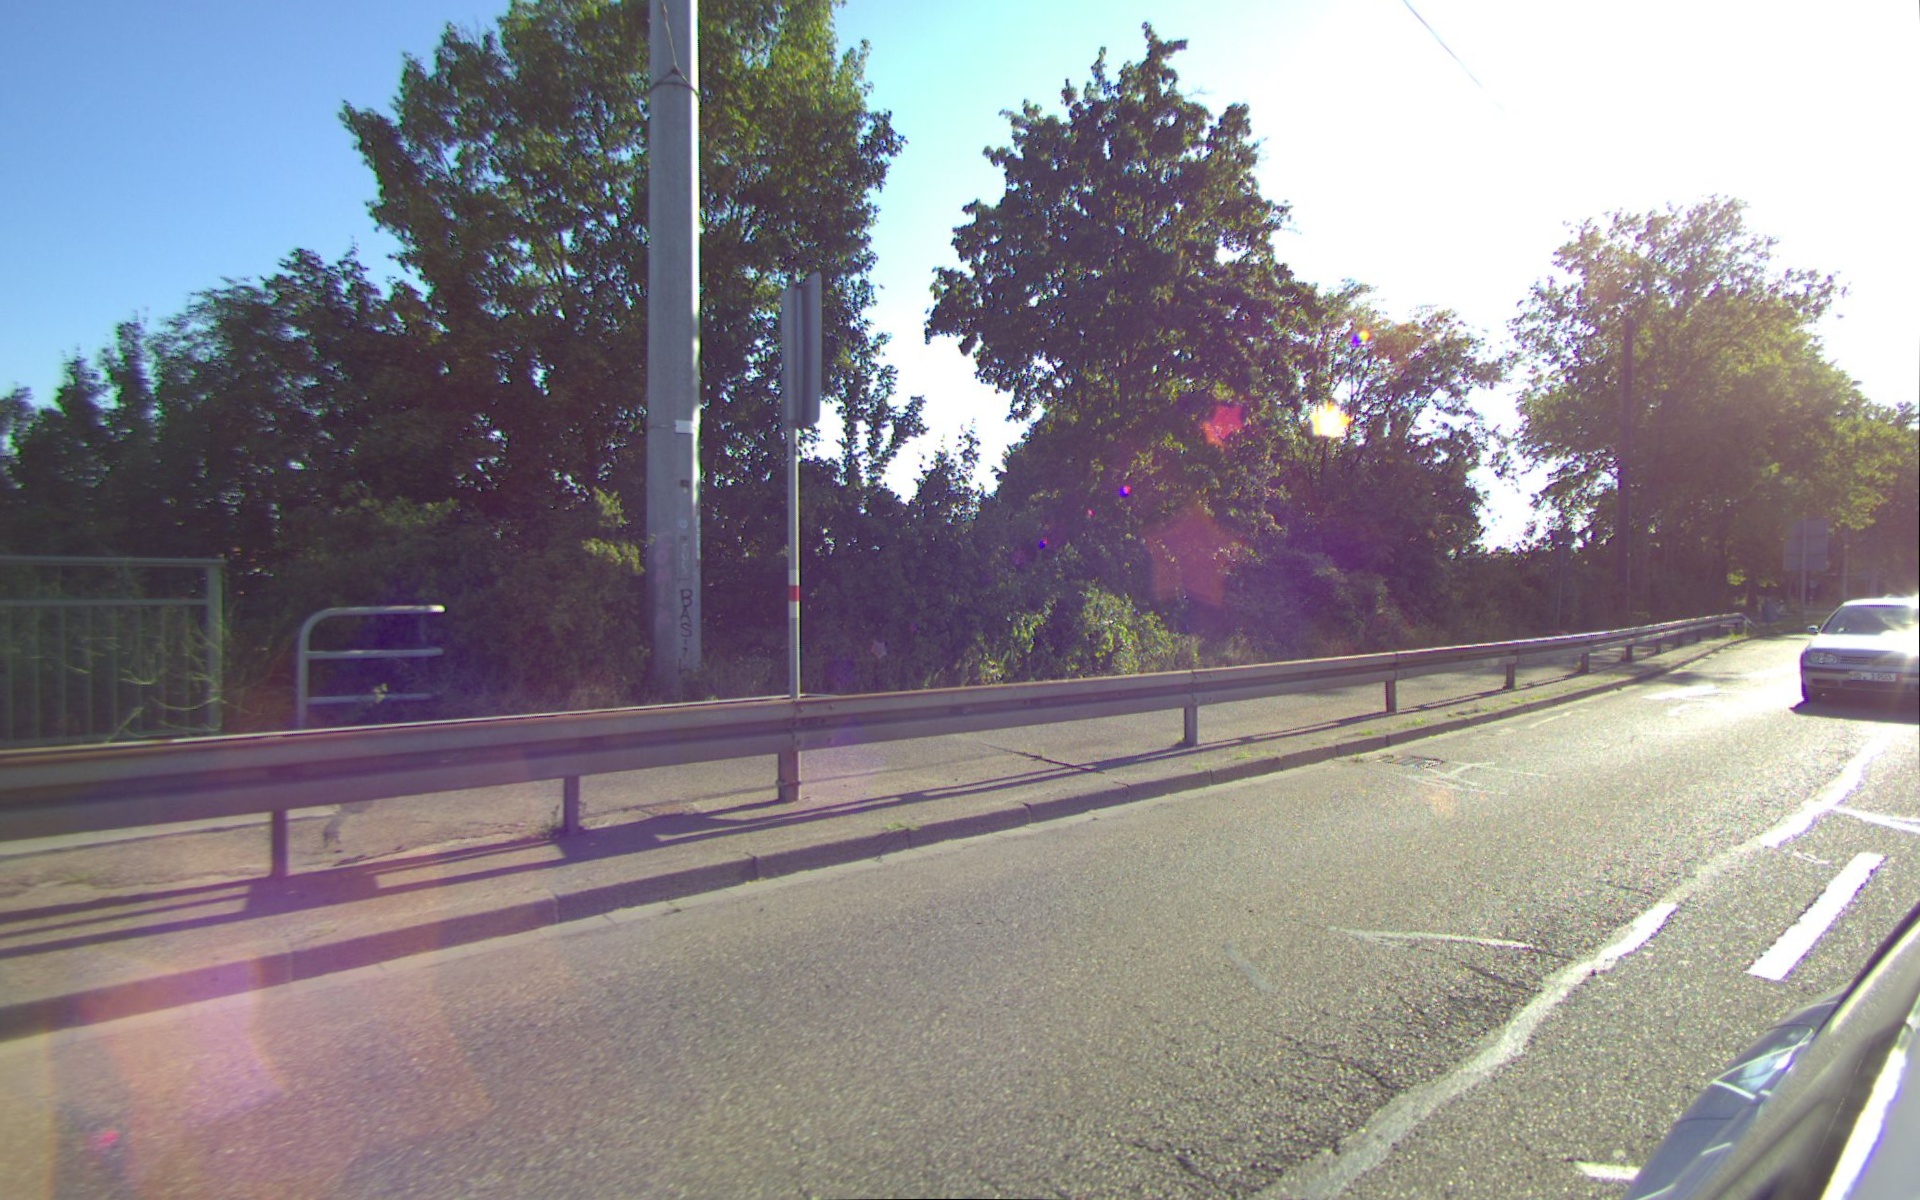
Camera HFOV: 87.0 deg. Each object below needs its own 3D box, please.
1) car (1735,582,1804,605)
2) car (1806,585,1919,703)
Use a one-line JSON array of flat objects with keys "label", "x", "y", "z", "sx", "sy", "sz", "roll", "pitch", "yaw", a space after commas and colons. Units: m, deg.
[{"label": "car", "x": 62.206, "y": -0.501, "z": 77.847, "sx": 3.971, "sy": 1.685, "sz": 1.869, "roll": 1, "pitch": 1, "yaw": 33}, {"label": "car", "x": 13.425, "y": 0.530, "z": 14.220, "sx": 3.930, "sy": 1.463, "sz": 1.694, "roll": -1, "pitch": 1, "yaw": -40}]
